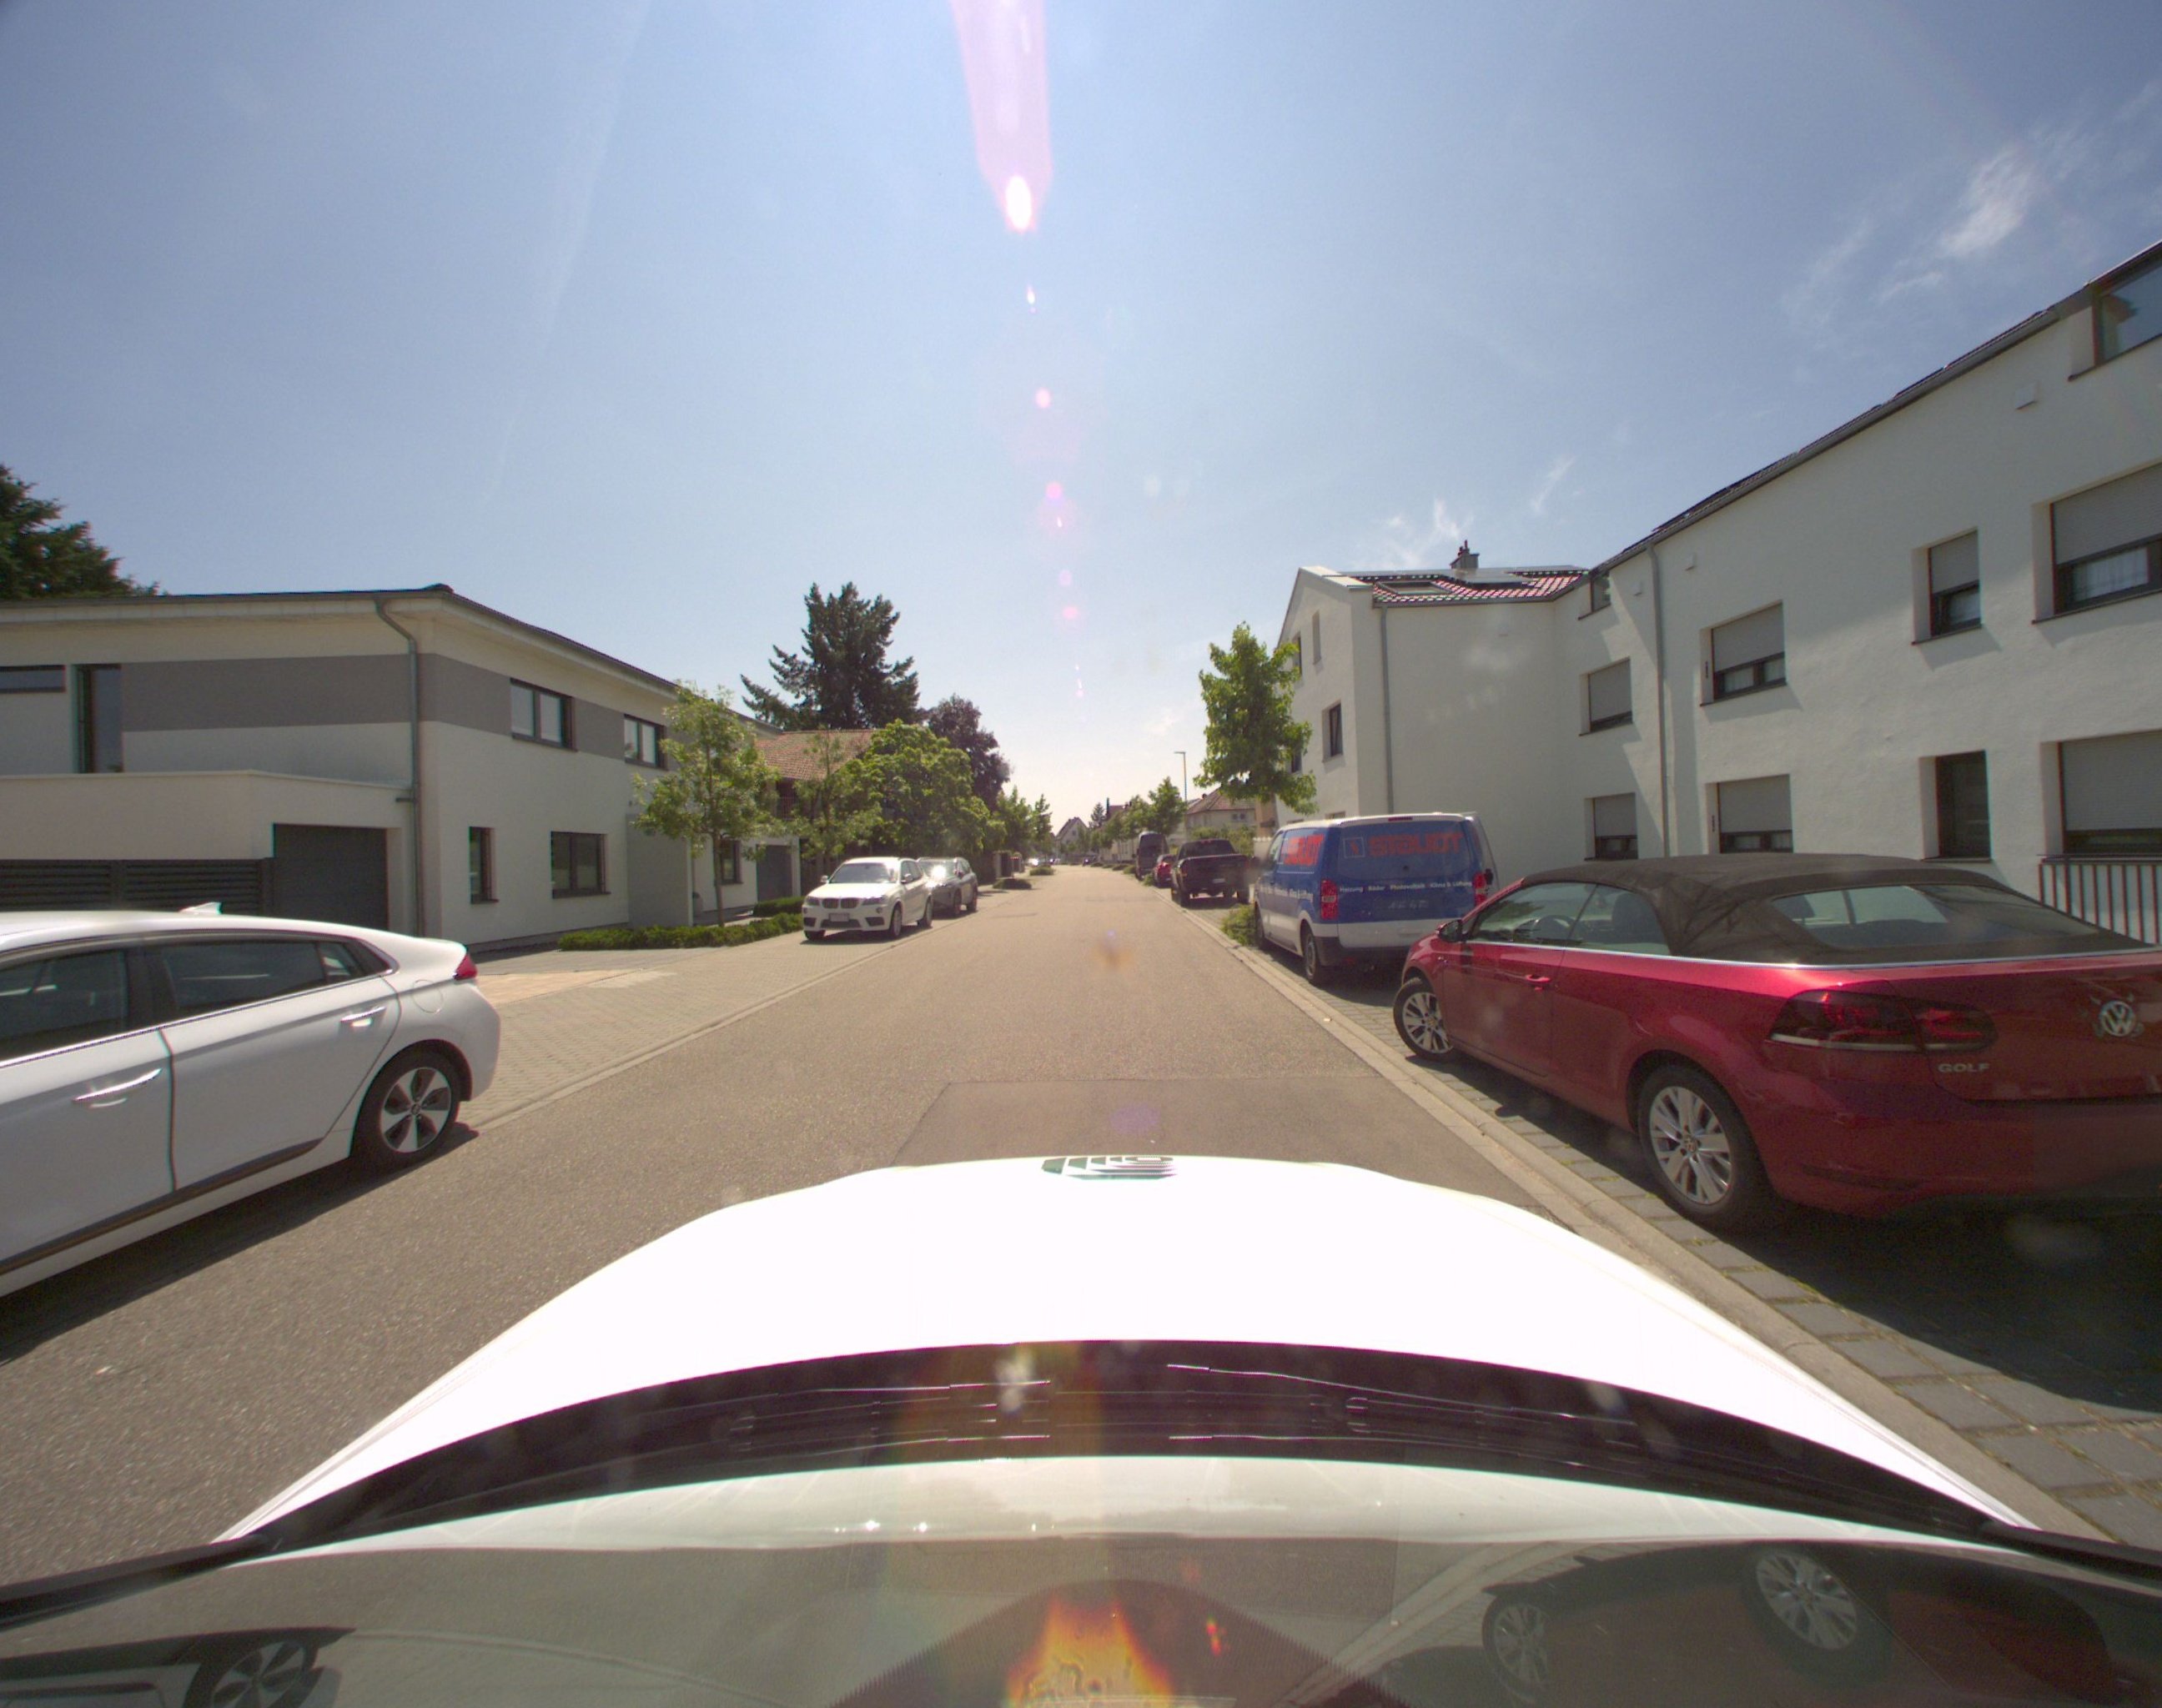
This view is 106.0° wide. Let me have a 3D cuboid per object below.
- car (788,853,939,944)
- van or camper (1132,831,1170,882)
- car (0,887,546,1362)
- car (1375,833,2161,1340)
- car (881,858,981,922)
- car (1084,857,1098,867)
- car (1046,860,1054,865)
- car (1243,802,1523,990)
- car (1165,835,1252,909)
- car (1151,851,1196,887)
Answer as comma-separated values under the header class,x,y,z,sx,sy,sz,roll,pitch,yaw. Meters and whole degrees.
class,x,y,z,sx,sy,sz,roll,pitch,yaw
car,-4.597,0.875,17.962,1.920,1.687,4.500,-2,0,2
van or camper,4.245,0.146,50.103,1.986,2.941,4.001,-2,0,2
car,-4.518,0.965,3.159,1.845,1.488,4.387,-1,0,2
car,3.196,0.683,4.429,1.674,1.441,4.026,-2,0,0
car,-4.351,0.996,24.237,1.986,1.680,4.216,-2,0,2
car,1.732,1.410,144.515,1.992,1.574,3.990,-2,0,-7
car,-7.728,2.132,205.188,1.661,1.250,3.923,-2,0,-6
car,3.612,0.451,10.877,2.091,1.882,4.846,-2,0,3
car,3.848,0.515,25.399,1.986,1.947,5.217,-3,0,2
car,4.424,0.701,39.301,1.665,1.595,3.555,-3,-1,0
